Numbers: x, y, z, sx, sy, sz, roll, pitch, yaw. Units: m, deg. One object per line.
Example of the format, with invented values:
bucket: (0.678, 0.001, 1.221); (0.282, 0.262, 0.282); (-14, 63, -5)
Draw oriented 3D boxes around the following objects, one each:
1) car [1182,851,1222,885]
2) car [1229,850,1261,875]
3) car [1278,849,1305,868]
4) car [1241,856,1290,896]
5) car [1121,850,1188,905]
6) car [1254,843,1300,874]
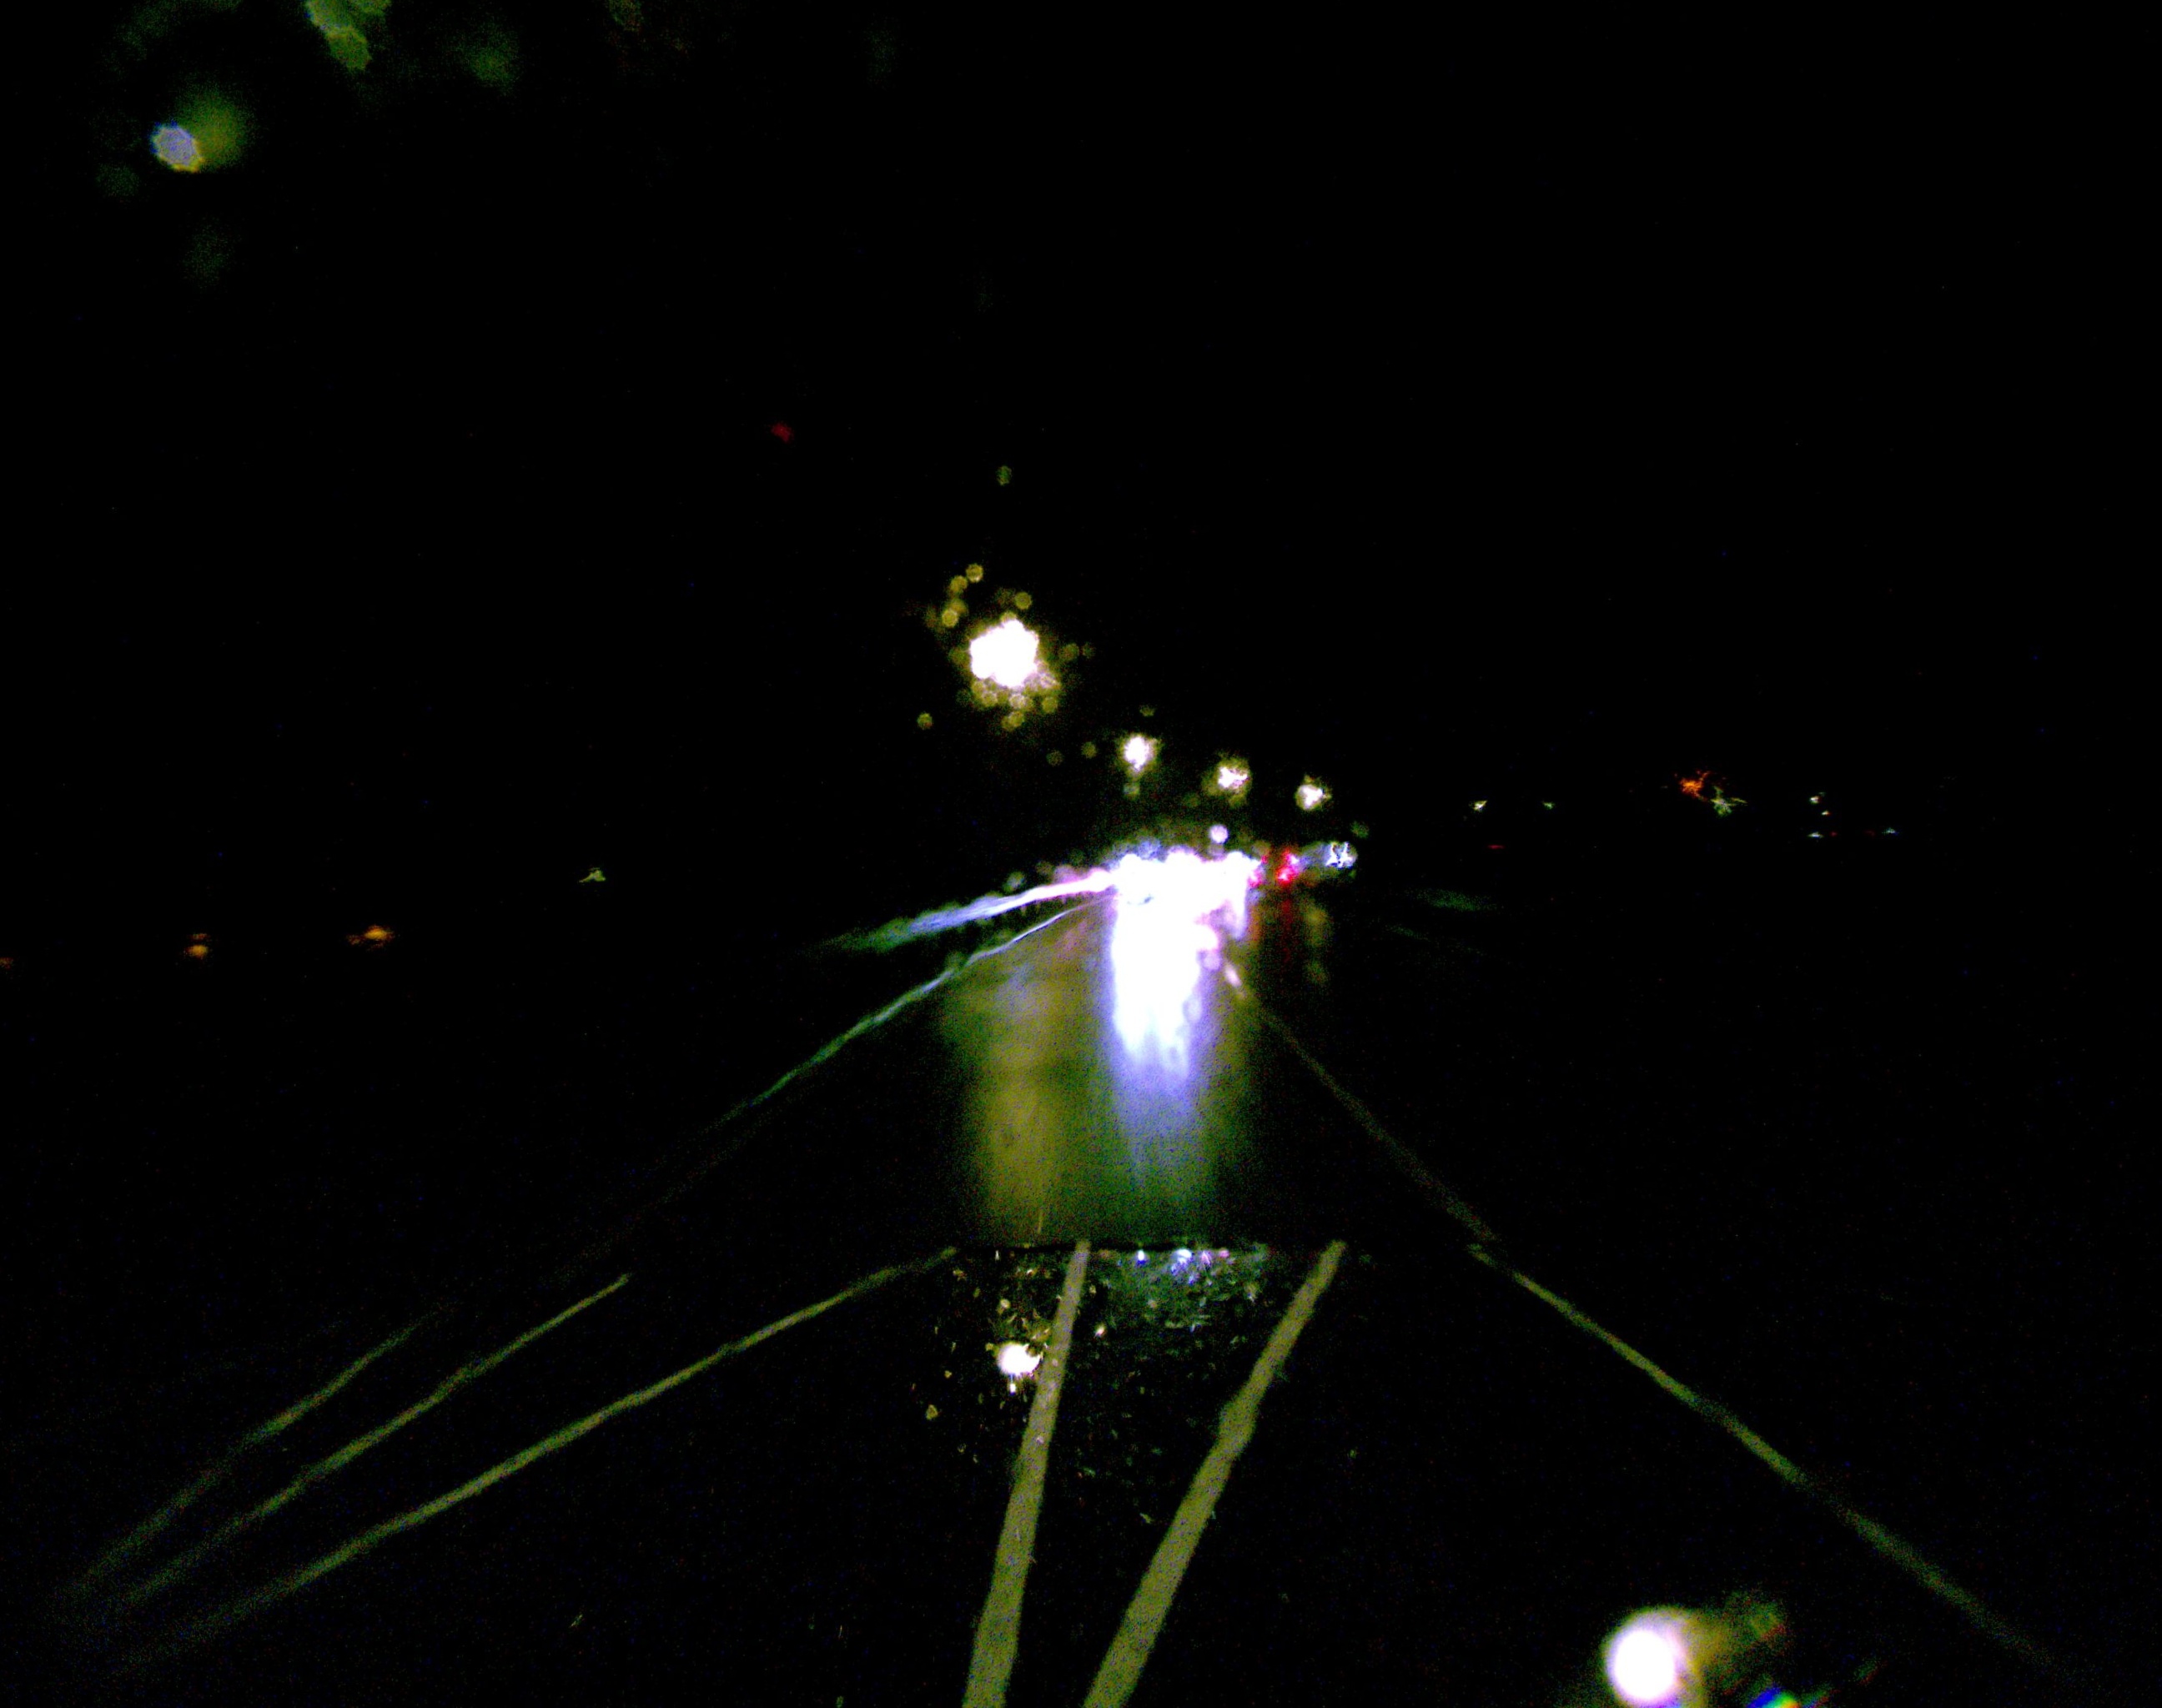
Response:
car: (7.431, 0.816, 46.413); (1.996, 1.922, 4.004); (-2, 0, 14)
car: (13.818, 0.686, 63.755); (1.996, 1.922, 4.006); (-2, 0, 21)
car: (21.673, 0.454, 78.178); (1.995, 1.922, 4.007); (-2, 0, 25)
car: (7.175, 0.826, 29.639); (1.731, 1.396, 3.867); (-1, 0, 13)
car: (2.808, 0.819, 28.134); (1.934, 1.861, 4.004); (-2, 0, 12)
car: (13.619, 0.312, 52.534); (2.452, 1.976, 5.502); (-2, 0, 20)
